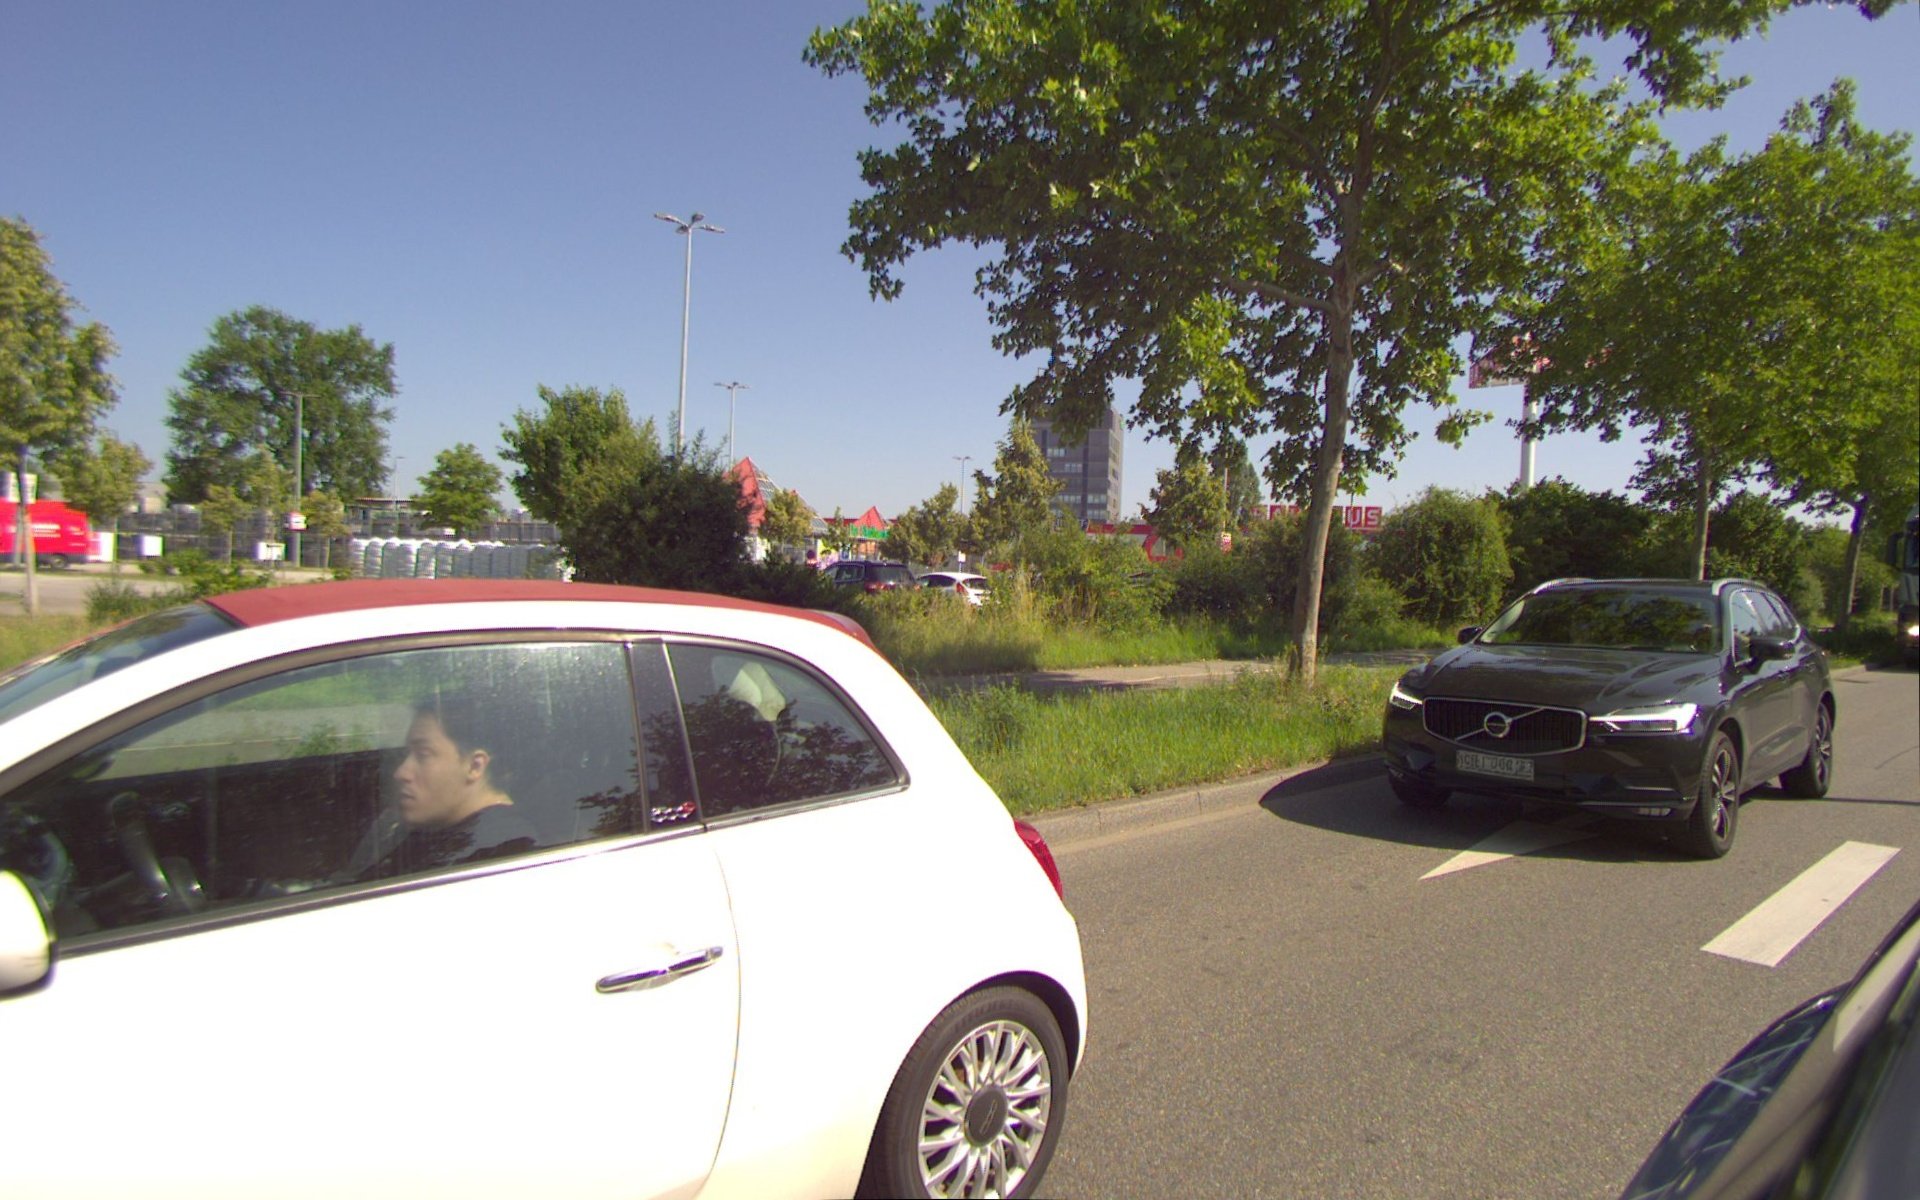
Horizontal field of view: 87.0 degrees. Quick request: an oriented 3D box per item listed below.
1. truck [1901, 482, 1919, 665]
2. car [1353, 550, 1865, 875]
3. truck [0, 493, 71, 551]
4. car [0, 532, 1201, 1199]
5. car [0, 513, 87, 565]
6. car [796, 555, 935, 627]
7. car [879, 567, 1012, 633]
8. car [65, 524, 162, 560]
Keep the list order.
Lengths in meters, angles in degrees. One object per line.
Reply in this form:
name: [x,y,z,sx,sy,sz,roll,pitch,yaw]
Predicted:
truck: [23.490,-0.566,22.788,5.749,3.943,2.739,0,1,-41]
car: [4.874,0.536,7.312,4.485,1.642,1.923,0,1,-41]
truck: [-58.032,-4.687,60.083,1.971,3.289,8.189,1,1,15]
car: [-1.243,0.628,2.182,3.456,1.454,1.665,0,1,-39]
car: [-45.270,-2.885,47.820,2.087,2.370,5.903,1,1,18]
car: [-2.485,-0.248,26.110,3.549,1.717,1.692,1,1,45]
car: [-0.449,-0.040,28.058,3.549,1.717,1.692,1,1,45]
car: [-52.822,-3.586,63.246,1.971,2.039,4.370,1,1,15]
